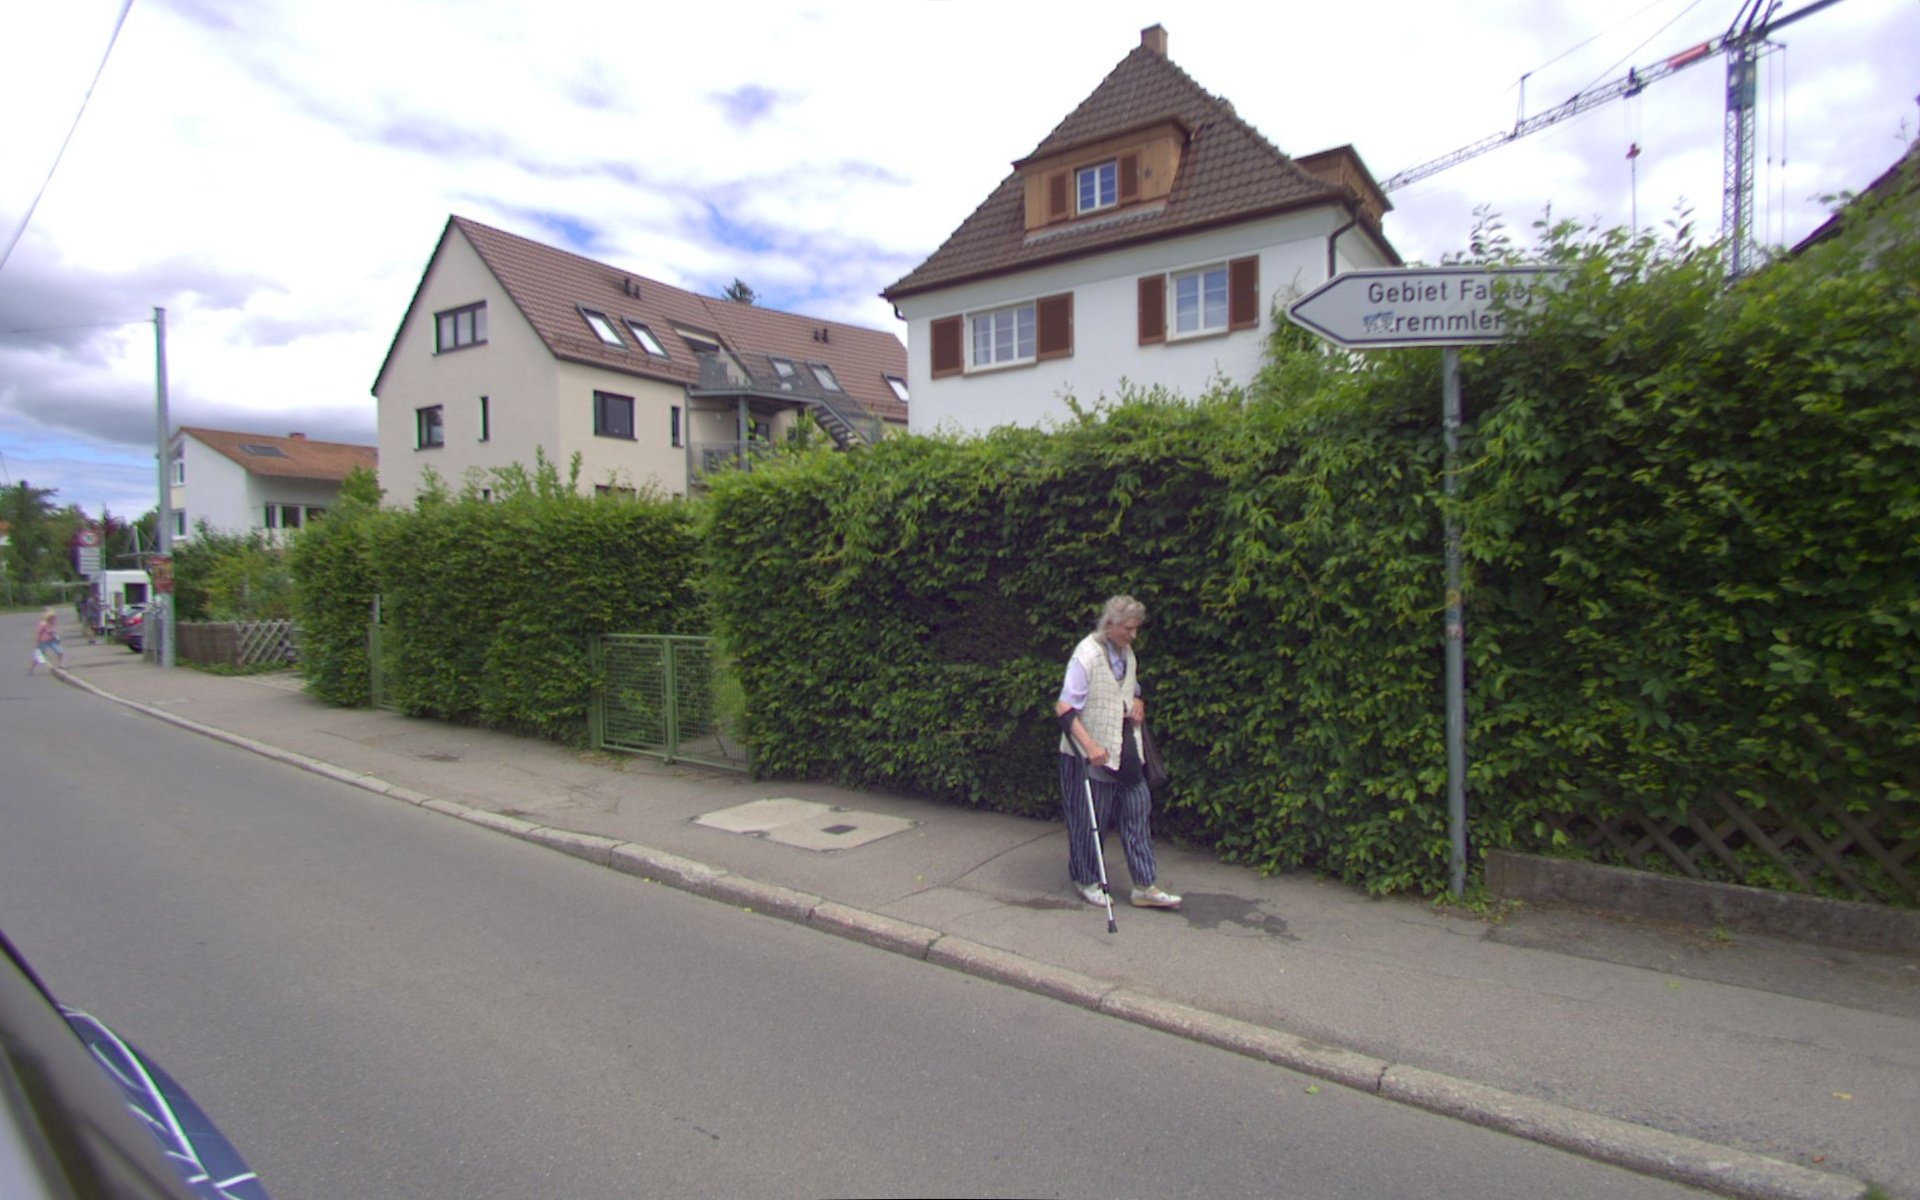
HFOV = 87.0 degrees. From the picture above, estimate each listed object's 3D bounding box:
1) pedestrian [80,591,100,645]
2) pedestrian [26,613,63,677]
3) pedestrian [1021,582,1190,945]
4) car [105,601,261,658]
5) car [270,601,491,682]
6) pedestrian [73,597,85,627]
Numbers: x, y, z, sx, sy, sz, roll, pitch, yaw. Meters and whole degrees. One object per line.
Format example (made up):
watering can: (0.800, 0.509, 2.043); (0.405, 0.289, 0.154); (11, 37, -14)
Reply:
pedestrian: (-32.166, 0.666, 37.410); (0.528, 1.966, 0.528); (-1, 0, -41)
pedestrian: (-23.738, 1.158, 26.242); (0.608, 1.611, 0.611); (-1, 0, 38)
pedestrian: (0.710, 0.707, 4.806); (0.542, 1.542, 0.743); (-2, 2, 26)
car: (-26.538, 0.968, 34.668); (1.884, 1.741, 3.945); (-1, 1, 41)
car: (-12.287, 0.820, 21.606); (1.775, 1.504, 3.712); (-1, 0, 41)
pedestrian: (-57.605, 0.792, 66.183); (0.519, 1.966, 0.537); (-1, 0, -40)
